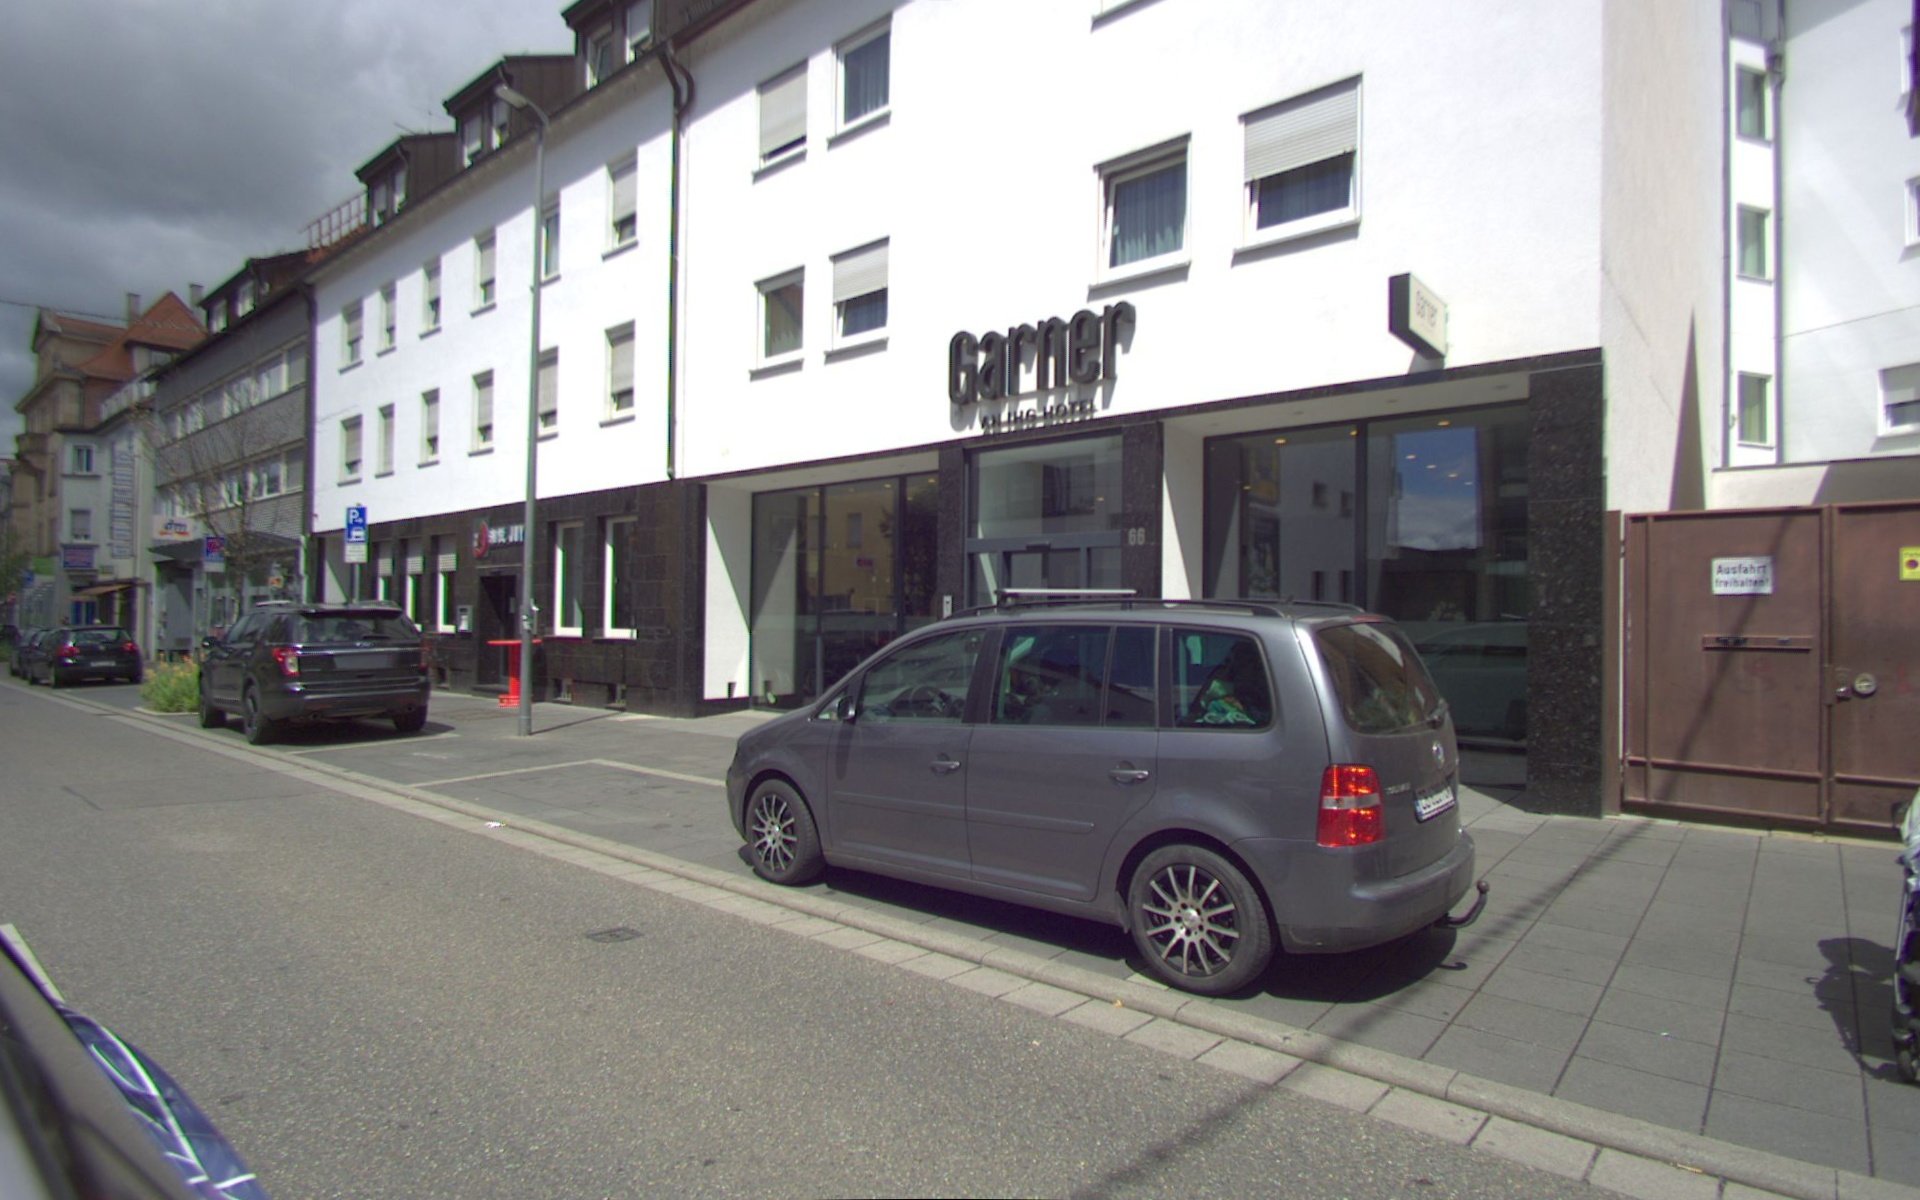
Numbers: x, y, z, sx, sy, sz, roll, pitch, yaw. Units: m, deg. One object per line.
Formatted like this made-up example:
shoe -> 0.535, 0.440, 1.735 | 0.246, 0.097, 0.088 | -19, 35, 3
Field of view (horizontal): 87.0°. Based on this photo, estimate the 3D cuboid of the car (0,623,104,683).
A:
car -> -26.440, 1.466, 29.373 | 4.711, 1.524, 1.771 | 0, 0, 42

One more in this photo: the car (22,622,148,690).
car -> -21.913, 1.335, 25.304 | 4.175, 1.515, 1.772 | -1, 0, 40

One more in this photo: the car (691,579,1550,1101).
car -> 0.534, 0.817, 5.609 | 4.463, 1.768, 1.797 | 0, 0, 42

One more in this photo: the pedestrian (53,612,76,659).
pedestrian -> -34.178, 1.349, 38.635 | 0.728, 1.770, 0.543 | 0, 0, 38

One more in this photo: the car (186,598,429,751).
car -> -9.128, 0.866, 13.982 | 4.670, 1.768, 1.796 | 0, 0, 44

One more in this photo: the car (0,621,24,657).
car -> -40.211, 1.592, 41.744 | 3.547, 1.457, 1.584 | -1, -2, 34

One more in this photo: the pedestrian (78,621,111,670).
pedestrian -> -29.960, 1.559, 35.026 | 0.650, 1.630, 0.725 | 0, 0, 36
